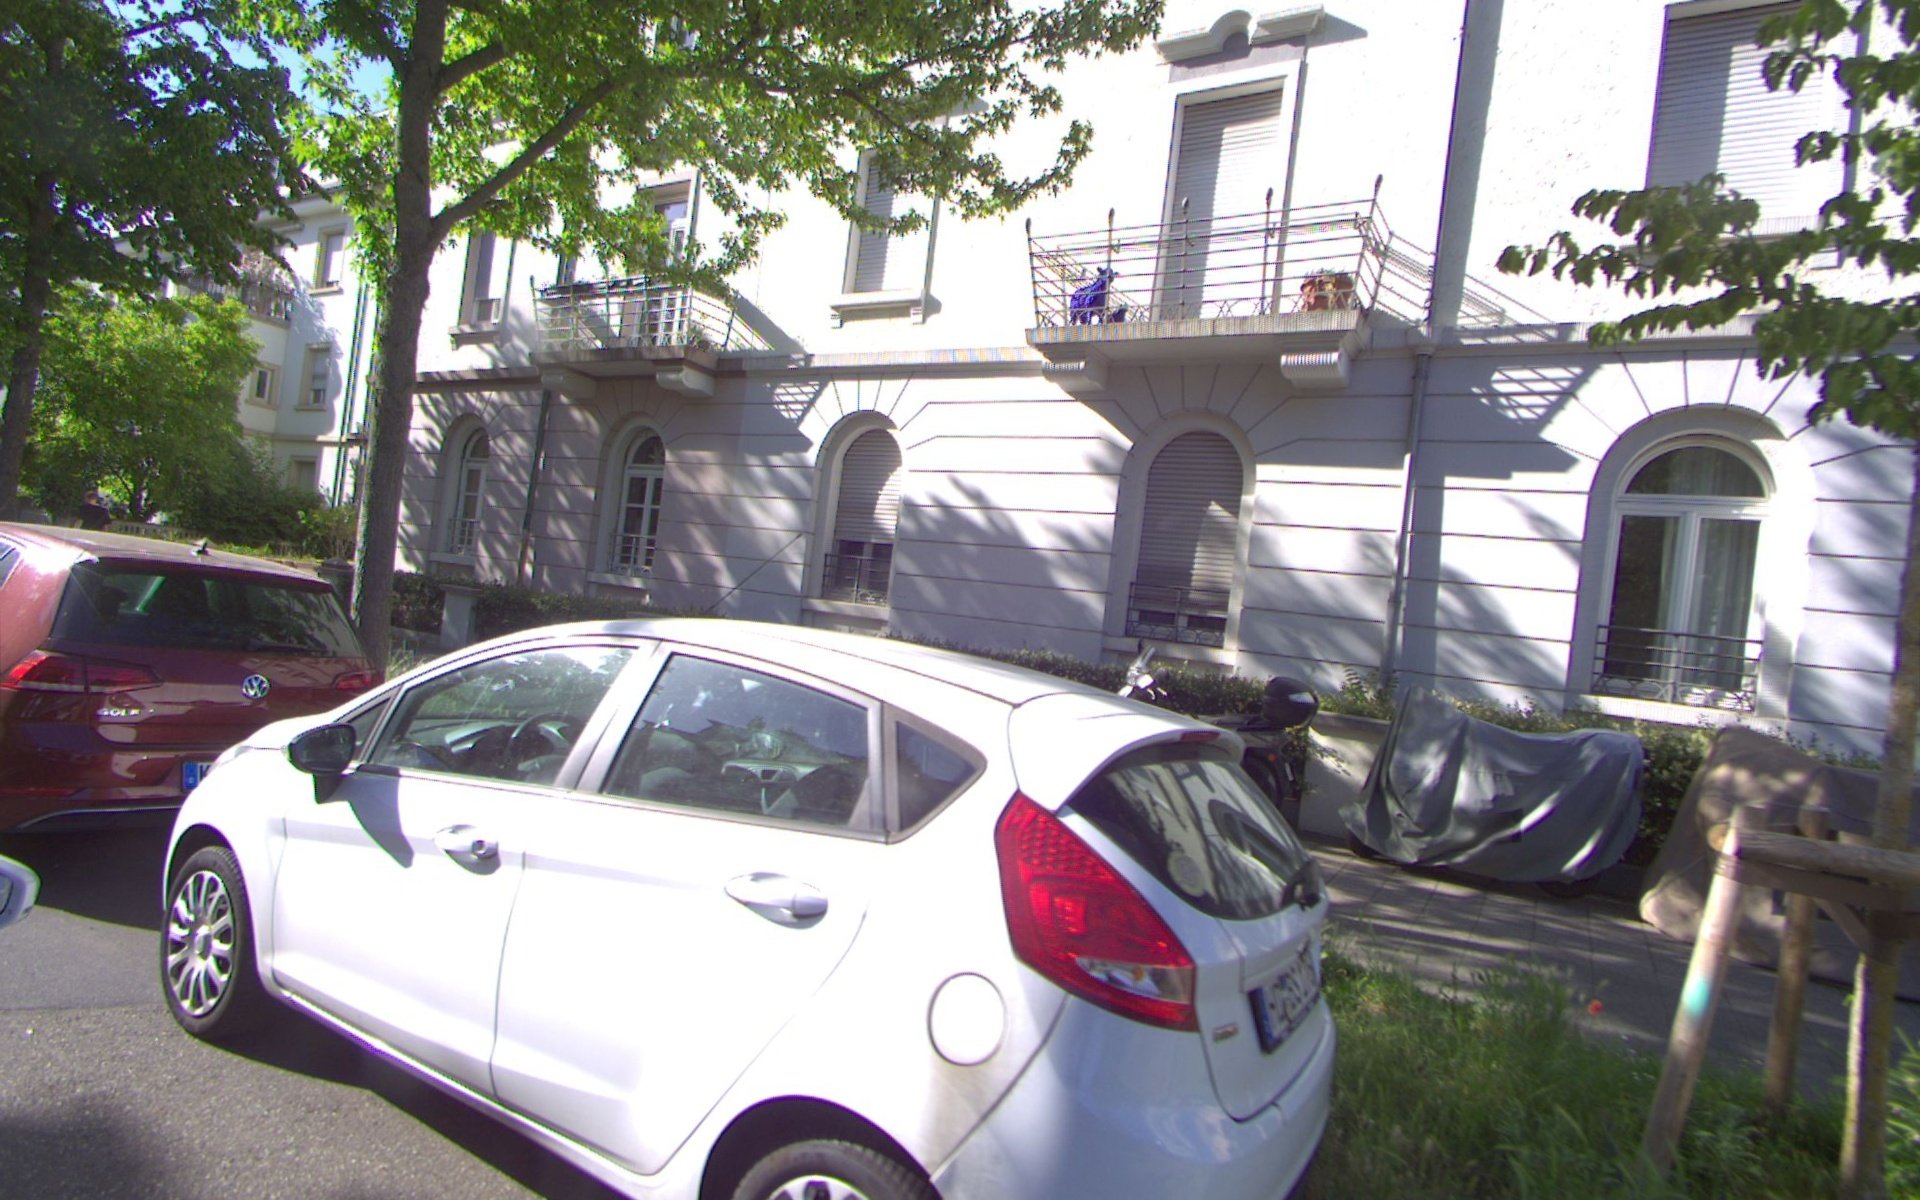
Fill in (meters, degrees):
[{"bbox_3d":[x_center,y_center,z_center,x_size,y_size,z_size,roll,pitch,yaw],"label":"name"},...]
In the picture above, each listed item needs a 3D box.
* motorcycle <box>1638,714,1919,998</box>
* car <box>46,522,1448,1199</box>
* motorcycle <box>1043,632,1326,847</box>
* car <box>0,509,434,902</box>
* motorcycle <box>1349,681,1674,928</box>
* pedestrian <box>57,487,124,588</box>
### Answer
[{"bbox_3d":[5.245,1.486,5.930,1.820,1.344,0.973,7,-1,26],"label":"motorcycle"},{"bbox_3d":[-0.890,0.706,3.093,4.066,1.419,1.655,7,-1,31],"label":"car"},{"bbox_3d":[1.795,1.073,8.225,2.054,1.377,0.540,6,-1,32],"label":"motorcycle"},{"bbox_3d":[-5.015,0.263,5.428,4.276,1.426,1.615,7,-1,28],"label":"car"},{"bbox_3d":[3.732,1.335,6.970,1.768,1.296,0.658,7,1,25],"label":"motorcycle"},{"bbox_3d":[-16.555,-1.189,19.158,0.786,1.797,0.623,7,1,32],"label":"pedestrian"}]
